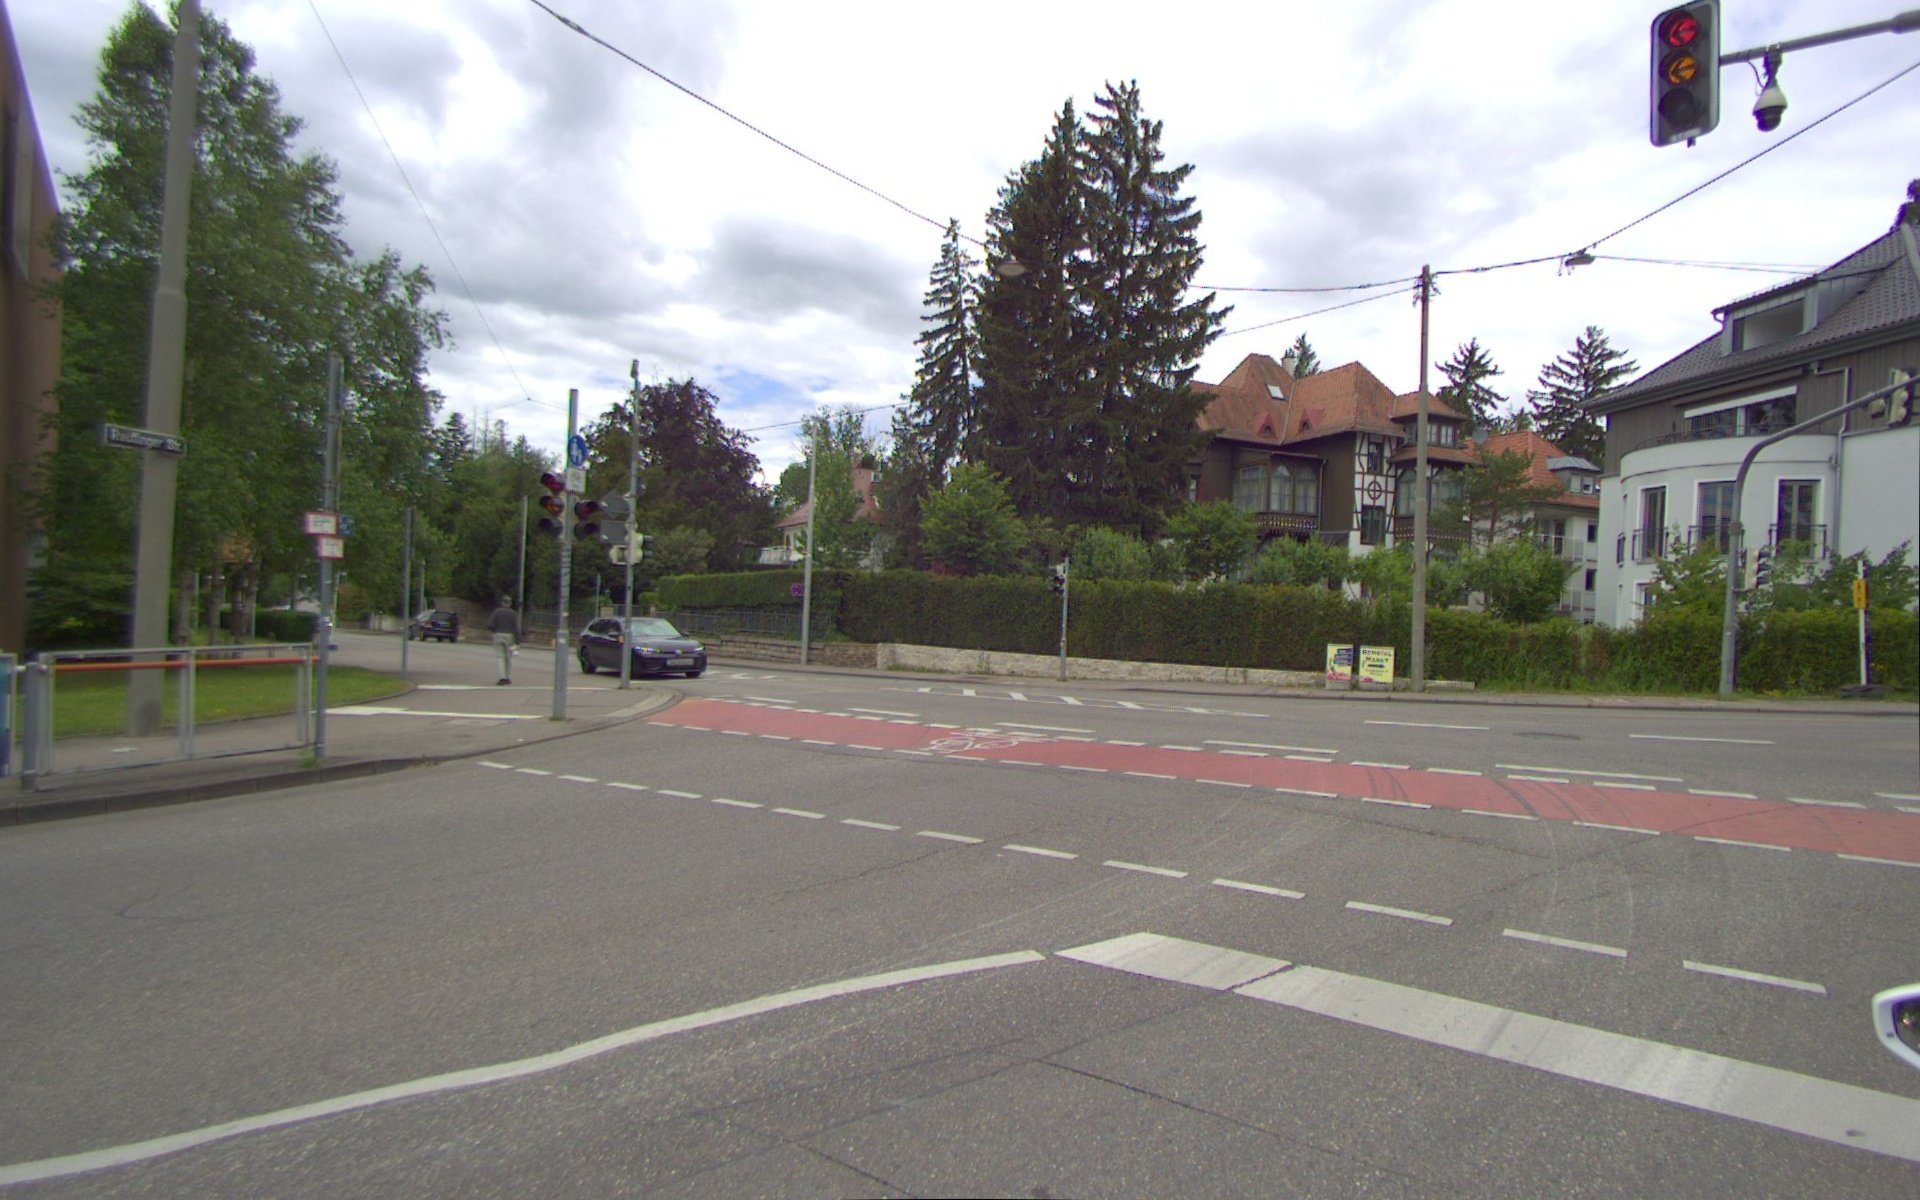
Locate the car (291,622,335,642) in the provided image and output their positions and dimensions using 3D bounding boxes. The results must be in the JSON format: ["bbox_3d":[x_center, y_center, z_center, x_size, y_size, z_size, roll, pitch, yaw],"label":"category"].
[{"bbox_3d":[-46.464,2.295,72.089,1.986,1.216,3.950,2,0,-42],"label":"car"}]

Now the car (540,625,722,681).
[{"bbox_3d":[-8.003,1.249,24.443,3.926,1.260,1.998,0,-2,27],"label":"car"}]
